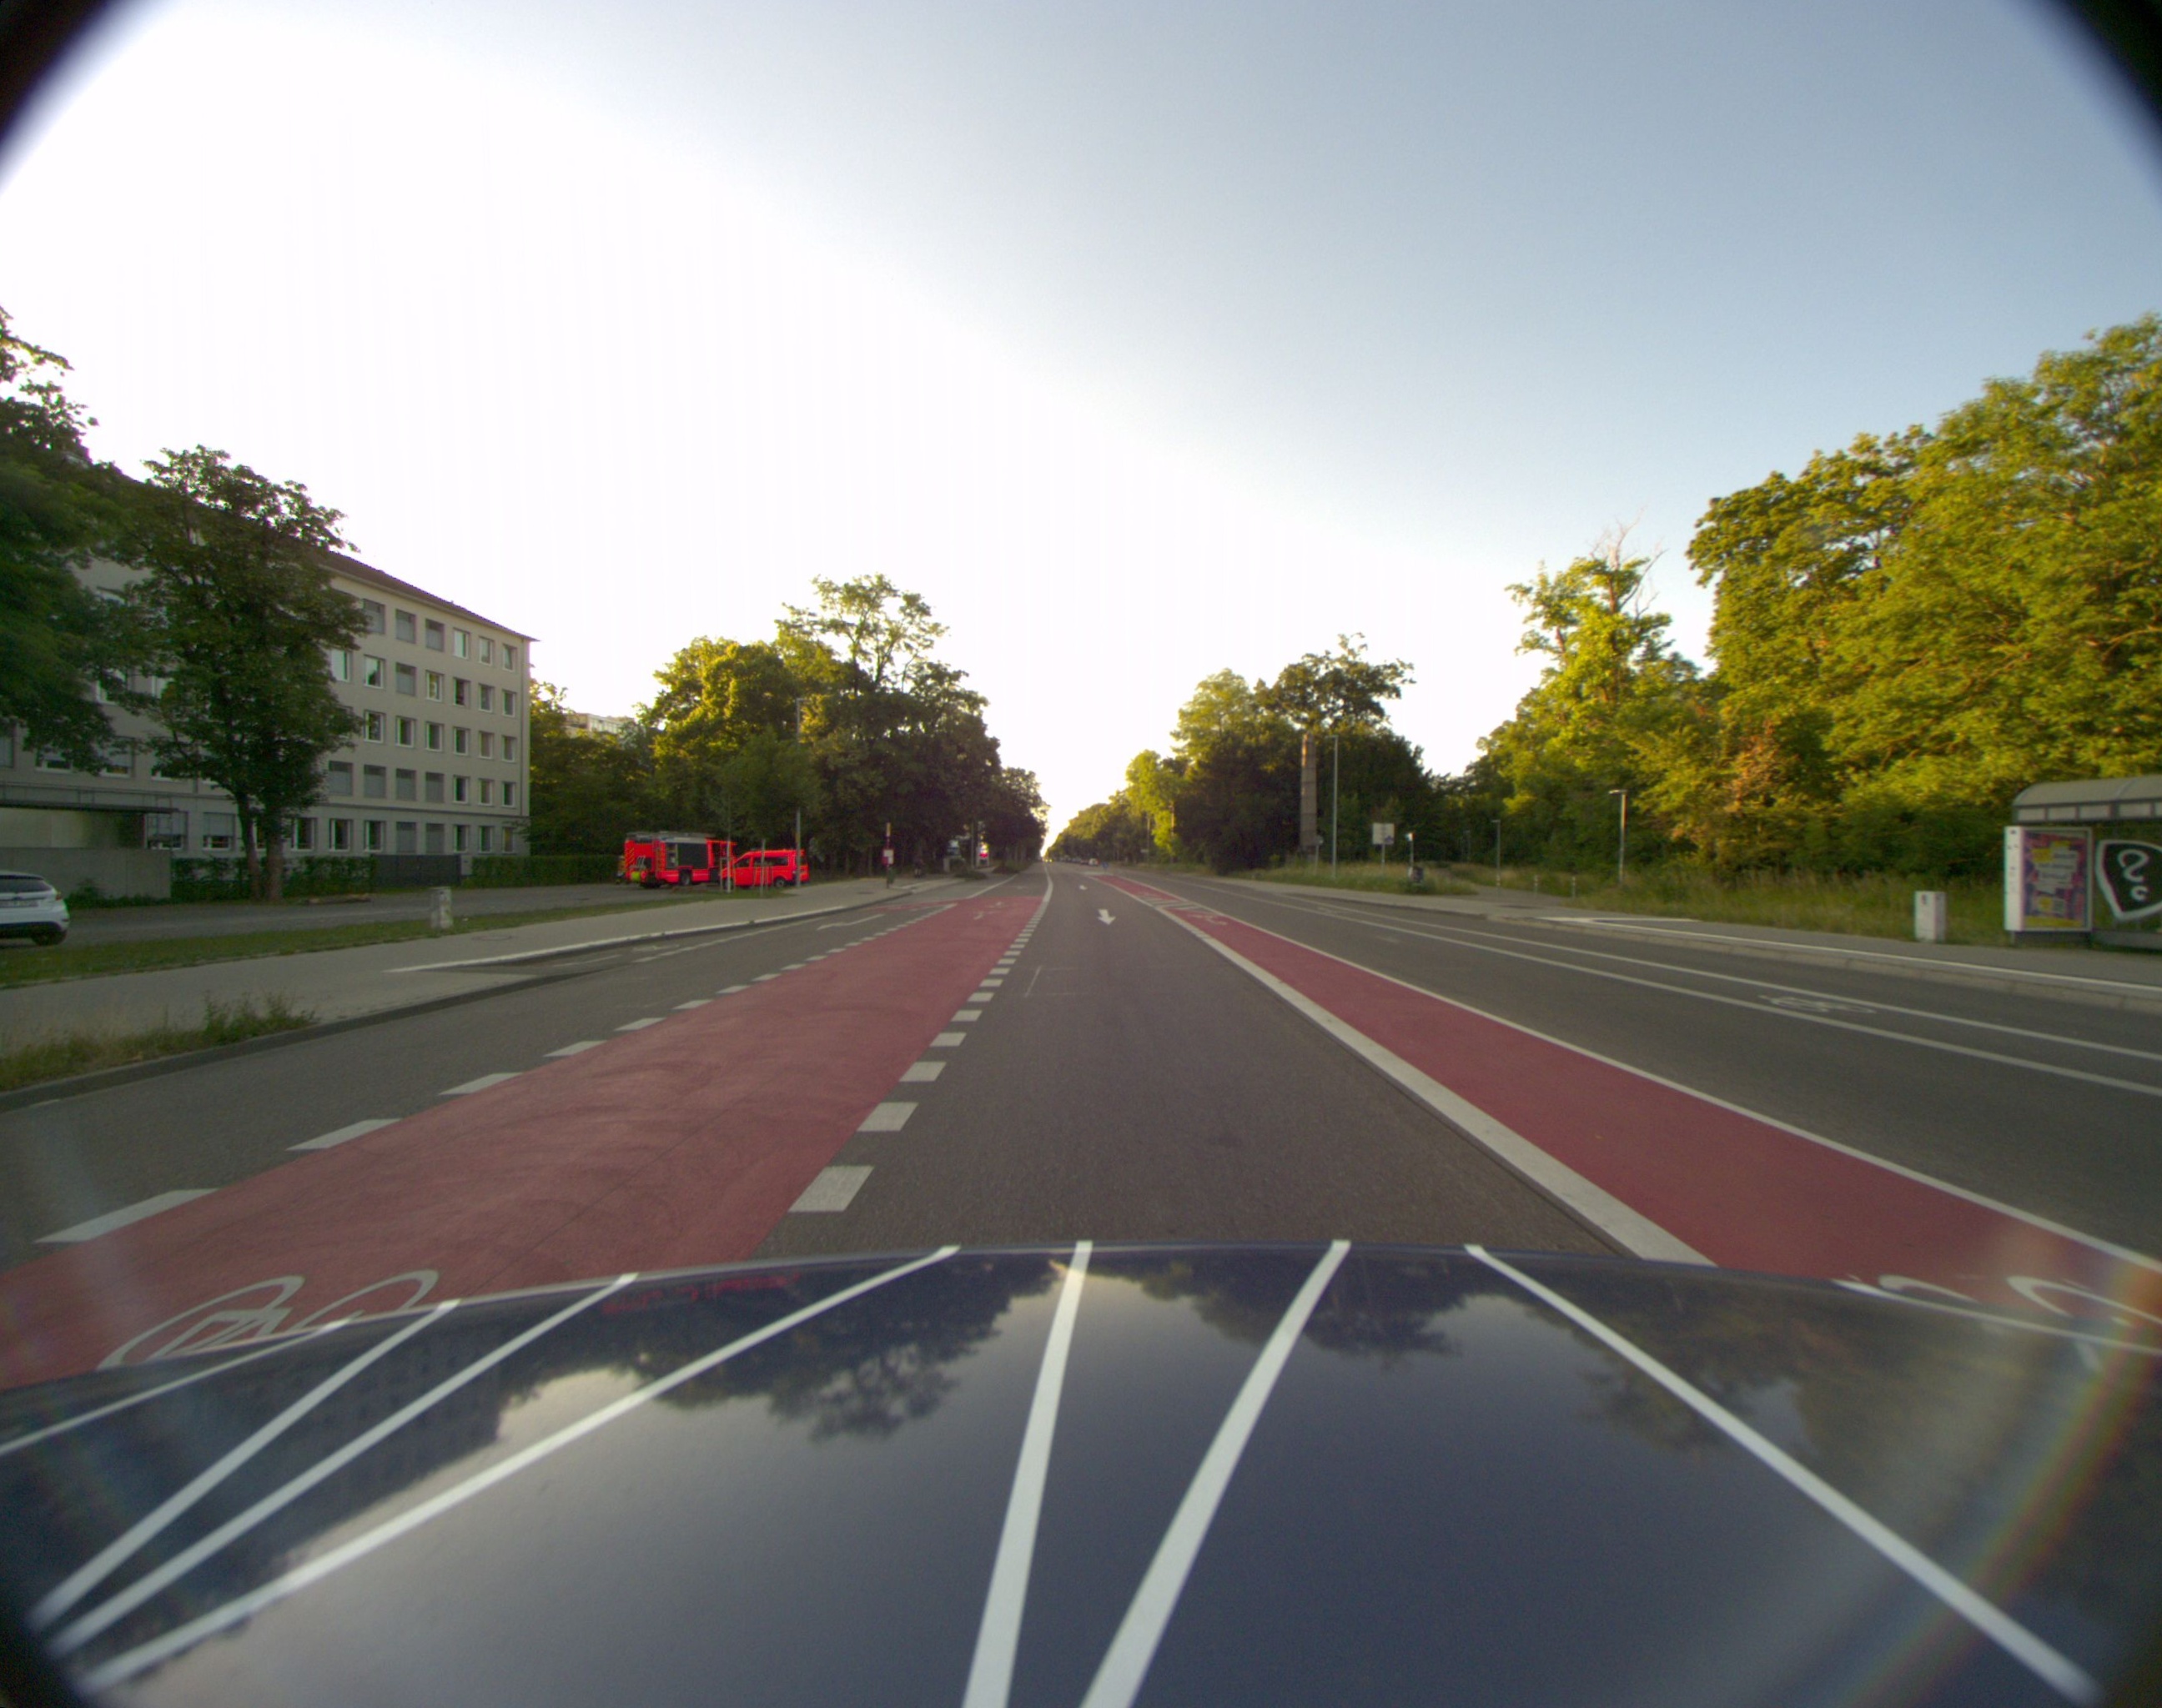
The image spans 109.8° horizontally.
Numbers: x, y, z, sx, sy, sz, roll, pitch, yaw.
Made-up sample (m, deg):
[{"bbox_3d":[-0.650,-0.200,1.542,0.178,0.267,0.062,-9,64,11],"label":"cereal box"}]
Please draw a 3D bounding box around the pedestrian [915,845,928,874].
[{"bbox_3d":[-11.161,0.408,53.168,0.725,2.002,0.695,1,1,-2],"label":"pedestrian"}]

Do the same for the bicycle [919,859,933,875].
[{"bbox_3d":[-10.731,0.889,52.646,0.833,1.091,1.967,-2,0,-8],"label":"bicycle"}]

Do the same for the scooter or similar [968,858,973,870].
[{"bbox_3d":[-11.793,1.031,81.078,0.483,1.274,1.139,1,0,-8],"label":"scooter or similar"}]

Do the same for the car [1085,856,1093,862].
[{"bbox_3d":[1.871,1.217,175.519,1.754,1.299,3.999,1,0,-2],"label":"car"}]

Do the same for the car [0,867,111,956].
[{"bbox_3d":[-20.936,1.055,13.949,3.995,1.528,1.912,-1,0,4],"label":"car"}]

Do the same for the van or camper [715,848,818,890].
[{"bbox_3d":[-17.638,0.837,42.768,4.822,2.231,2.296,-1,0,8],"label":"van or camper"}]

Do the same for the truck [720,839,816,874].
[{"bbox_3d":[-29.685,0.197,72.126,8.645,3.192,2.765,0,0,17],"label":"truck"}]

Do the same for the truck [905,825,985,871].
[{"bbox_3d":[-18.103,-0.747,99.965,5.168,5.541,15.046,0,0,-32],"label":"truck"}]

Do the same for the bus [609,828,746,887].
[{"bbox_3d":[-23.680,0.192,45.207,2.993,3.177,7.969,-1,0,8],"label":"bus"}]

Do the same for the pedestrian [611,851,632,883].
[{"bbox_3d":[-28.994,0.823,47.972,0.772,2.002,0.826,0,1,9],"label":"pedestrian"}]

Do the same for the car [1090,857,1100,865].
[{"bbox_3d":[2.954,1.501,159.279,1.852,1.404,4.183,-4,-5,-3],"label":"car"}]

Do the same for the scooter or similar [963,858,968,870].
[{"bbox_3d":[-12.088,1.021,79.453,0.483,1.274,1.230,1,0,-8],"label":"scooter or similar"}]
